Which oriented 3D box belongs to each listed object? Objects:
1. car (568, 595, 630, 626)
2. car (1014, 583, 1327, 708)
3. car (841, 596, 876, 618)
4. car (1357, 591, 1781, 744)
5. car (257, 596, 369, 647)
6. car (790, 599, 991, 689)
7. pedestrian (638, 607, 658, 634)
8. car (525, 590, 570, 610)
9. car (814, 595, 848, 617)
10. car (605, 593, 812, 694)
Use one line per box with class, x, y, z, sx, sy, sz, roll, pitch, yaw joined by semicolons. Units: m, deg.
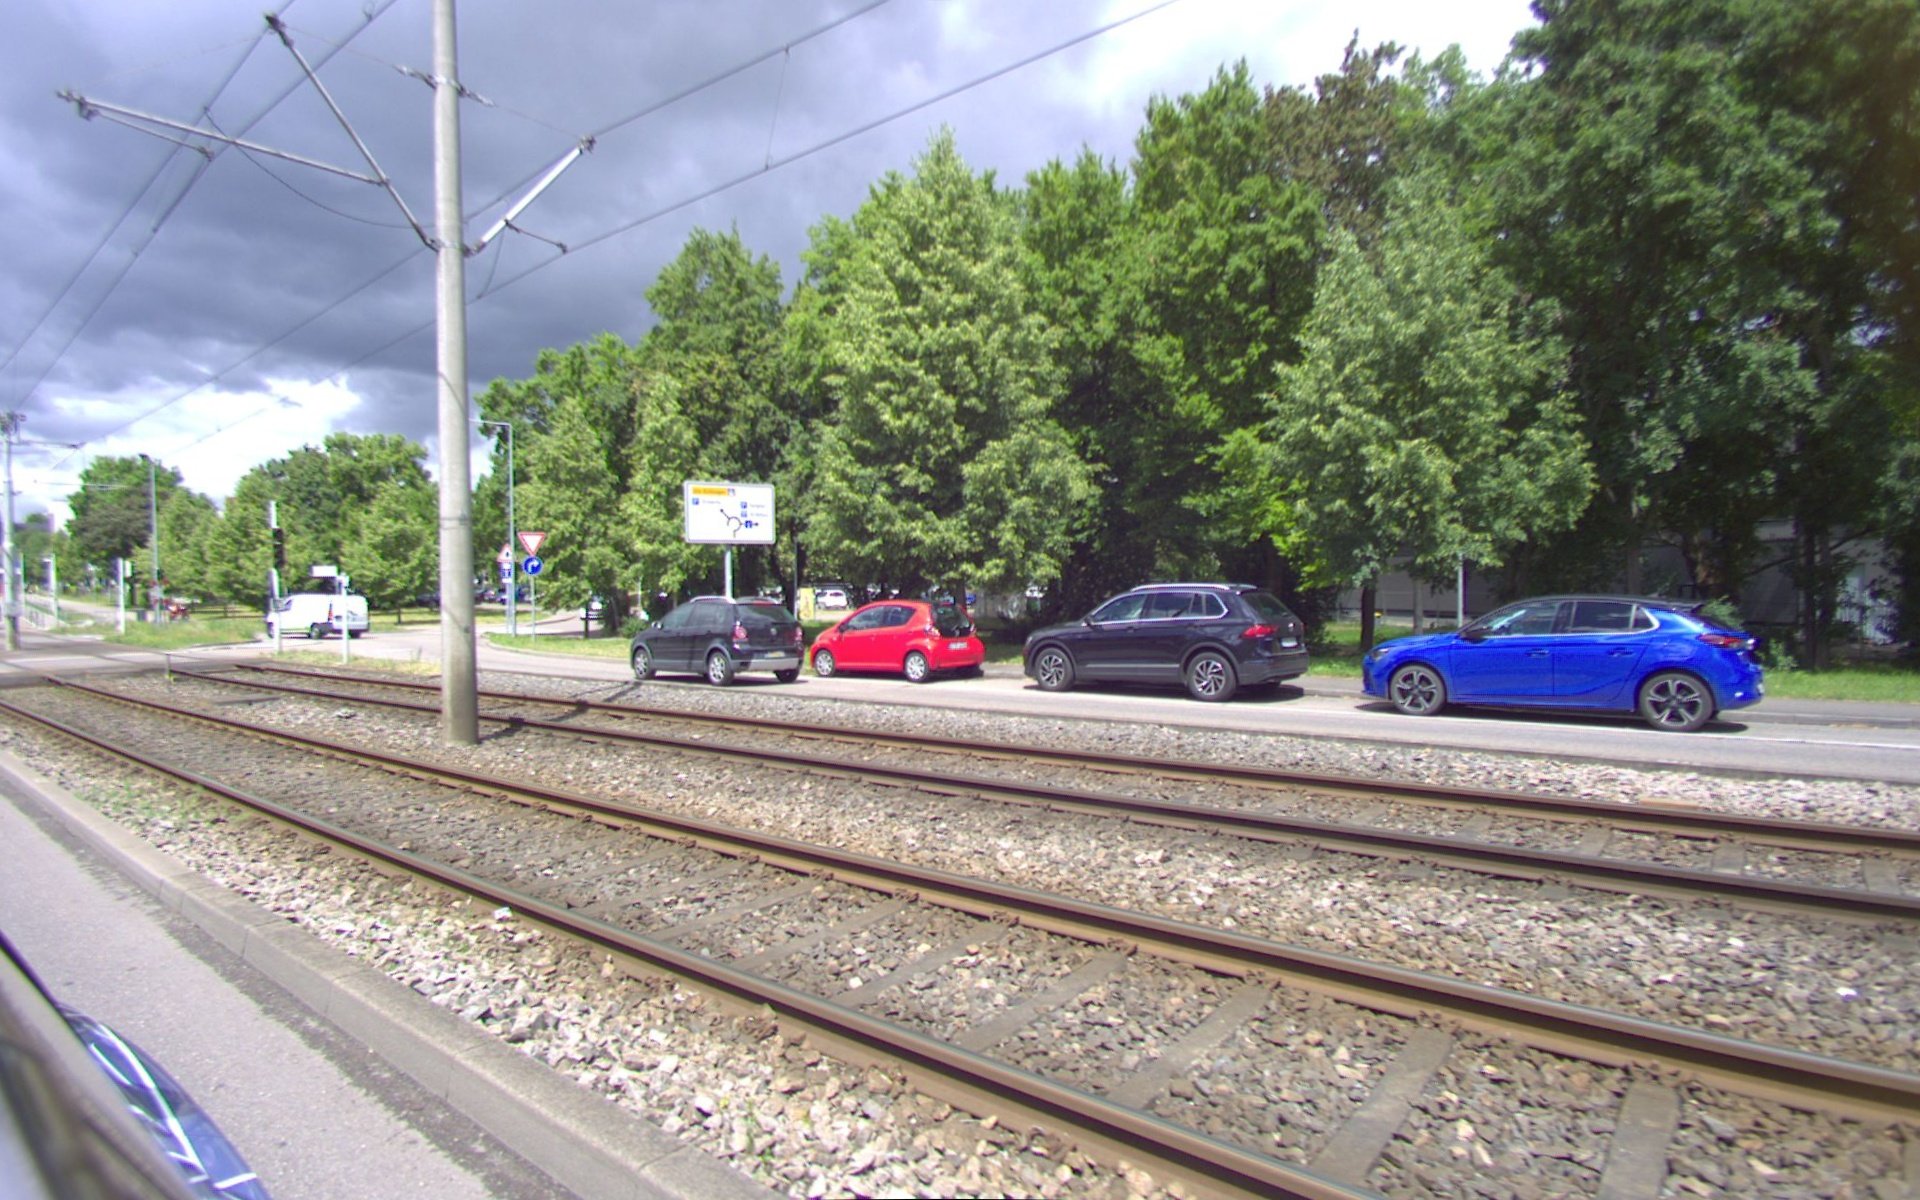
car;-23.111;0.652;64.913;1.724;1.702;4.336;-1;2;11
car;3.012;0.635;15.141;4.372;1.617;1.563;-2;-1;41
car;-7.660;0.495;75.775;1.728;1.430;4.013;-2;2;-18
car;6.914;0.651;11.745;4.006;1.472;1.596;1;-1;42
car;-28.067;0.893;43.872;5.214;2.033;1.862;0;2;30
car;-1.360;0.748;19.101;3.656;1.462;1.598;0;3;38
pedestrian;-17.906;1.170;58.102;0.742;1.468;0.895;-1;2;8
car;-36.158;0.019;88.743;3.887;1.652;1.578;0;2;29
car;-9.607;0.442;75.139;1.728;1.430;4.013;-2;2;-18
car;-4.626;0.699;18.334;3.997;1.585;1.597;0;3;40
